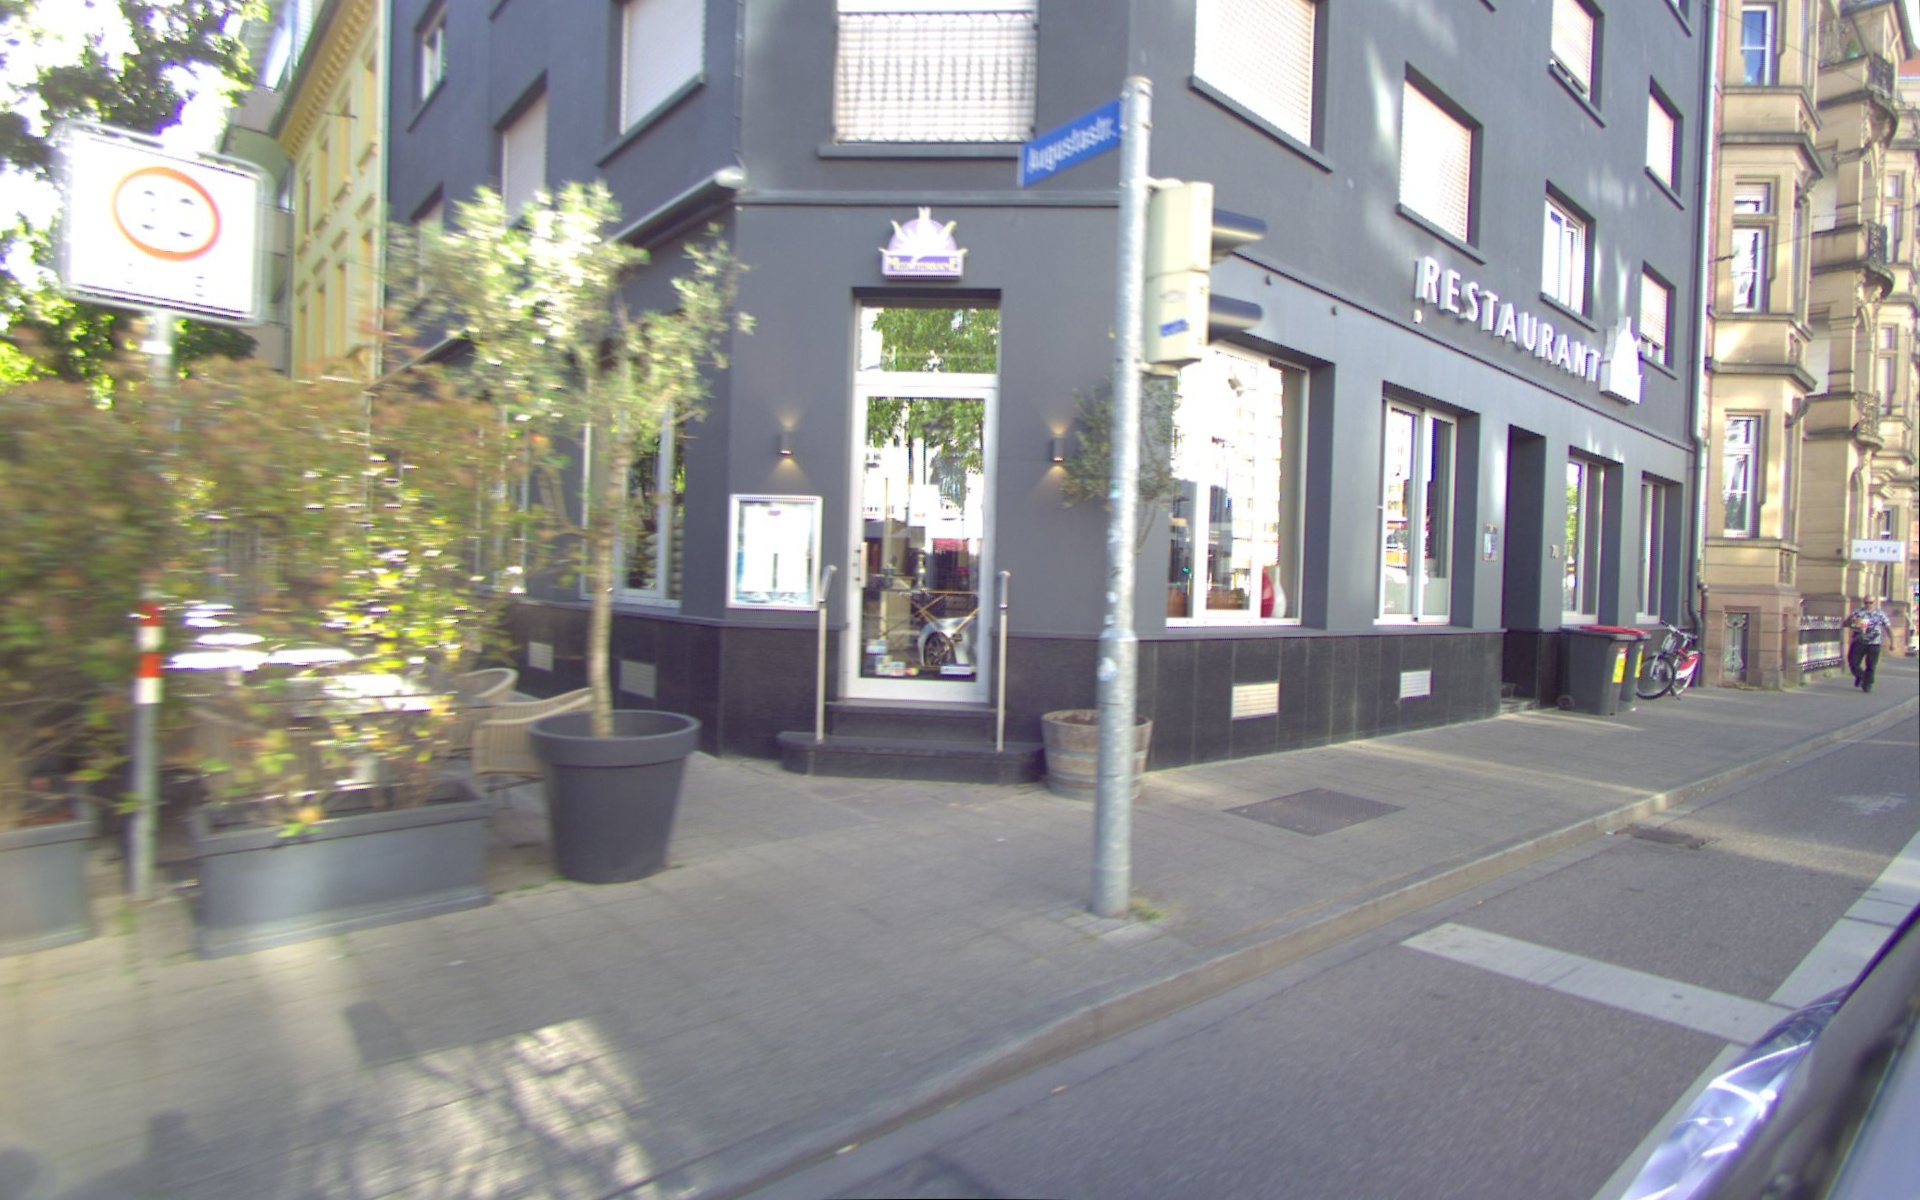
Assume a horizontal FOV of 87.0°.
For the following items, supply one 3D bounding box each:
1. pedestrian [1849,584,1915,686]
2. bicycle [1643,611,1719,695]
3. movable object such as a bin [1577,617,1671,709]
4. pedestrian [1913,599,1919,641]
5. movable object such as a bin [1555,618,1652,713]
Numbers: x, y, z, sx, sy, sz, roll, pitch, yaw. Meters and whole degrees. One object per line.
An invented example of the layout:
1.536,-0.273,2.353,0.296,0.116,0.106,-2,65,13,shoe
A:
16.650,0.622,18.278,1.075,1.772,0.780,3,-1,-44,pedestrian
10.612,0.752,14.879,1.742,1.136,0.460,0,3,-41,bicycle
8.523,0.786,12.999,0.740,1.048,0.750,1,5,-40,movable object such as a bin
39.011,0.816,40.853,0.621,1.675,0.701,-1,2,-42,pedestrian
7.956,0.787,12.511,0.740,1.048,0.750,1,5,-40,movable object such as a bin
